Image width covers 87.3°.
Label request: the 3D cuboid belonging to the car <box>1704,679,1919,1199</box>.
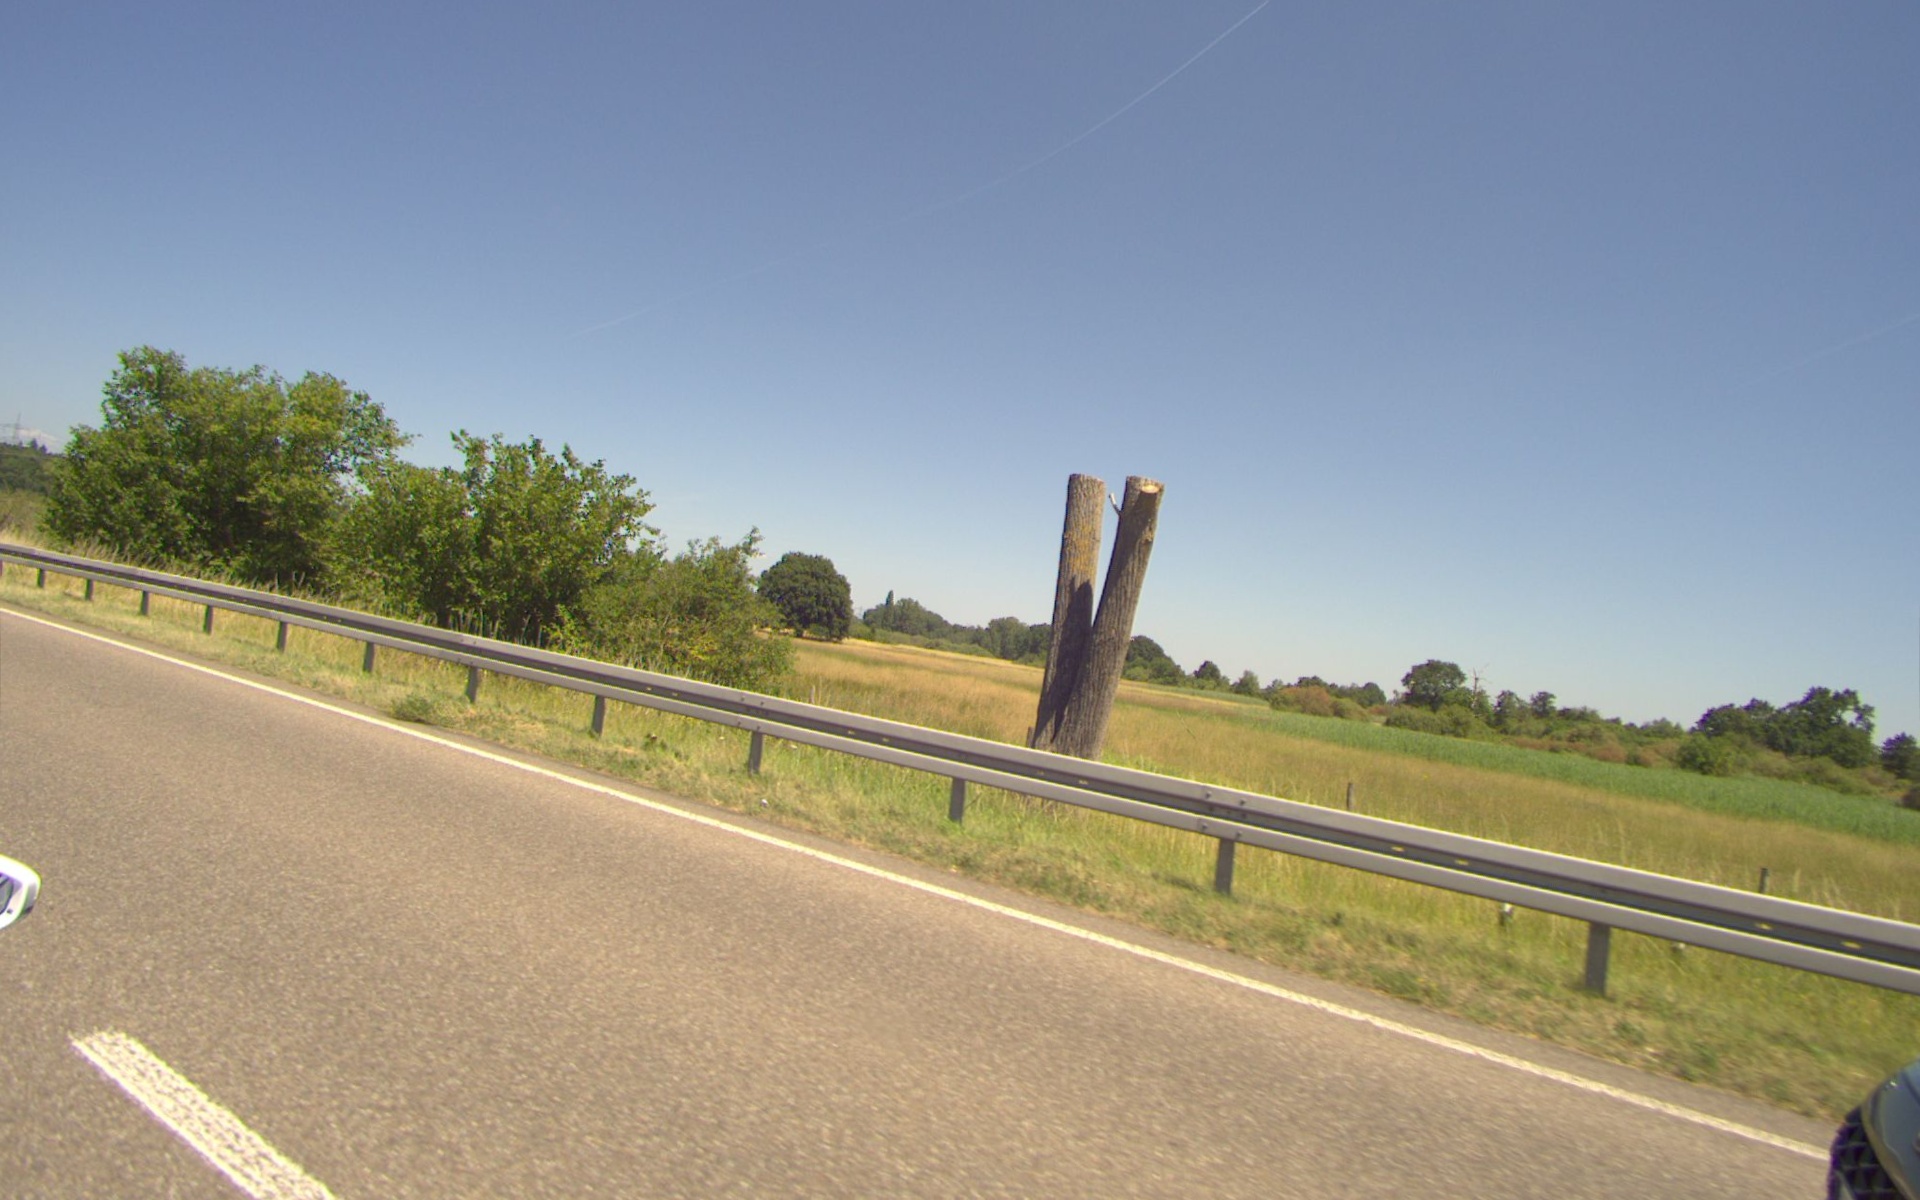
[{"bbox_3d":[3.352,1.145,0.958,3.951,1.571,1.789,7,-1,30],"label":"car"}]
